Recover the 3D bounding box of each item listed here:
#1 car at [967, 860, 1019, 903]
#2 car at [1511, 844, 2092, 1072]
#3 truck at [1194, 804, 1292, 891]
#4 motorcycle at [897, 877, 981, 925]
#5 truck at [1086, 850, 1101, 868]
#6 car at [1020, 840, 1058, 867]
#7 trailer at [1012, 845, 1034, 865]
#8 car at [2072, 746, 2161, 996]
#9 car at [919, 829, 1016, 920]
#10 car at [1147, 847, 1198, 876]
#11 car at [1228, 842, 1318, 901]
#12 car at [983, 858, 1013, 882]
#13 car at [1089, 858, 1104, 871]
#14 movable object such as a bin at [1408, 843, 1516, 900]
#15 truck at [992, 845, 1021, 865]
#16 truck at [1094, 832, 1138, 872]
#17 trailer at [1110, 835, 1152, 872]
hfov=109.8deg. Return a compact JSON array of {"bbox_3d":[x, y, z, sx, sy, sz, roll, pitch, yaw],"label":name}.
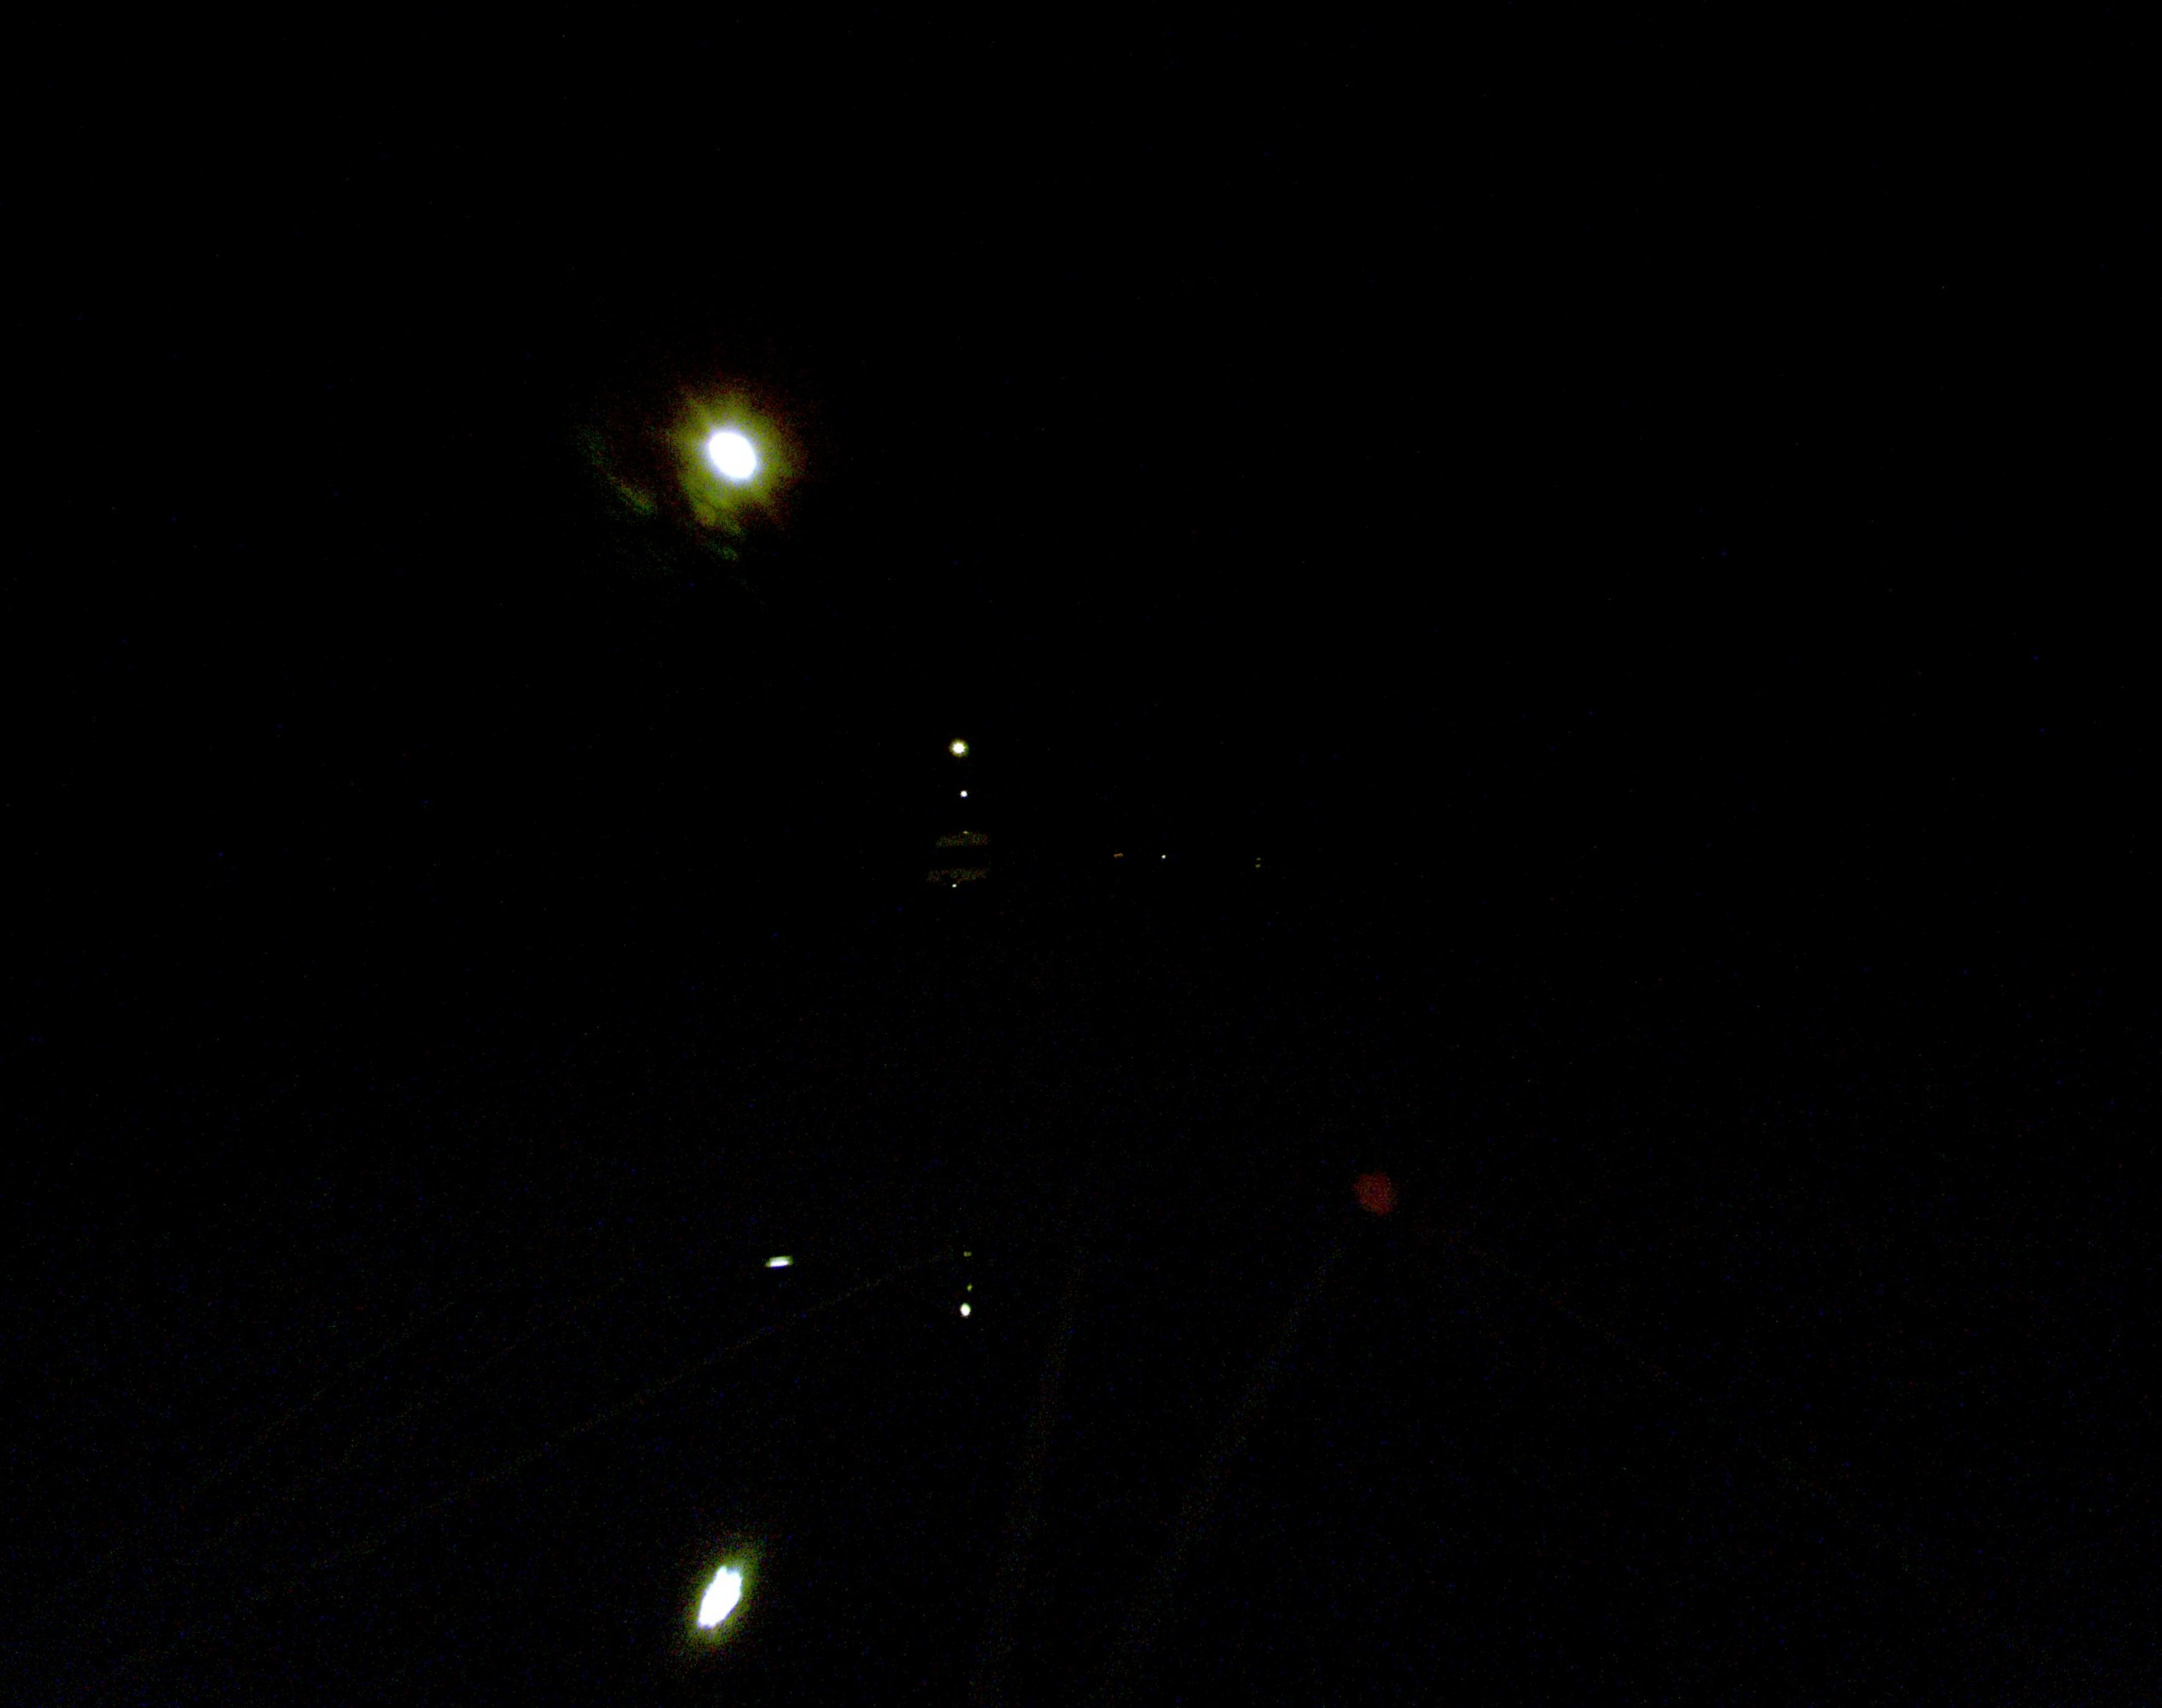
[{"bbox_3d":[-3.596,1.095,31.827,1.715,1.499,4.639,-5,0,-3],"label":"car"},{"bbox_3d":[6.110,0.717,7.338,1.759,1.517,4.324,-2,0,5],"label":"car"},{"bbox_3d":[6.753,-0.257,32.771,2.550,3.261,7.311,-2,0,0],"label":"truck"},{"bbox_3d":[-3.794,1.261,20.243,2.180,1.177,0.770,-3,1,32],"label":"motorcycle"},{"bbox_3d":[1.802,0.752,113.363,2.138,2.598,7.099,-1,0,0],"label":"truck"},{"bbox_3d":[-5.373,-0.014,96.444,2.392,3.224,7.218,-2,0,-23],"label":"car"},{"bbox_3d":[-7.913,0.172,103.322,2.005,2.749,3.994,0,0,-17],"label":"trailer"},{"bbox_3d":[10.799,0.159,5.113,1.998,2.308,4.968,0,0,5],"label":"car"},{"bbox_3d":[-3.478,0.574,24.593,2.026,2.512,6.051,-3,0,1],"label":"car"},{"bbox_3d":[5.840,0.470,48.956,2.000,1.761,4.688,-2,0,-9],"label":"car"},{"bbox_3d":[6.390,0.533,25.854,1.834,1.806,4.838,-1,0,0],"label":"car"},{"bbox_3d":[-5.702,1.050,51.779,1.716,1.499,3.996,-3,0,-10],"label":"car"},{"bbox_3d":[2.096,1.415,103.389,1.862,1.630,3.999,-1,0,-1],"label":"car"},{"bbox_3d":[10.624,0.471,21.317,2.341,1.486,1.416,-2,0,7],"label":"movable object such as a bin"},{"bbox_3d":[-10.764,0.189,109.618,2.002,2.768,7.230,-2,0,-23],"label":"truck"},{"bbox_3d":[2.979,-0.180,67.027,2.381,3.224,7.226,-2,0,-8],"label":"truck"},{"bbox_3d":[3.892,-0.065,60.382,2.212,2.779,4.612,-2,0,-10],"label":"trailer"}]
